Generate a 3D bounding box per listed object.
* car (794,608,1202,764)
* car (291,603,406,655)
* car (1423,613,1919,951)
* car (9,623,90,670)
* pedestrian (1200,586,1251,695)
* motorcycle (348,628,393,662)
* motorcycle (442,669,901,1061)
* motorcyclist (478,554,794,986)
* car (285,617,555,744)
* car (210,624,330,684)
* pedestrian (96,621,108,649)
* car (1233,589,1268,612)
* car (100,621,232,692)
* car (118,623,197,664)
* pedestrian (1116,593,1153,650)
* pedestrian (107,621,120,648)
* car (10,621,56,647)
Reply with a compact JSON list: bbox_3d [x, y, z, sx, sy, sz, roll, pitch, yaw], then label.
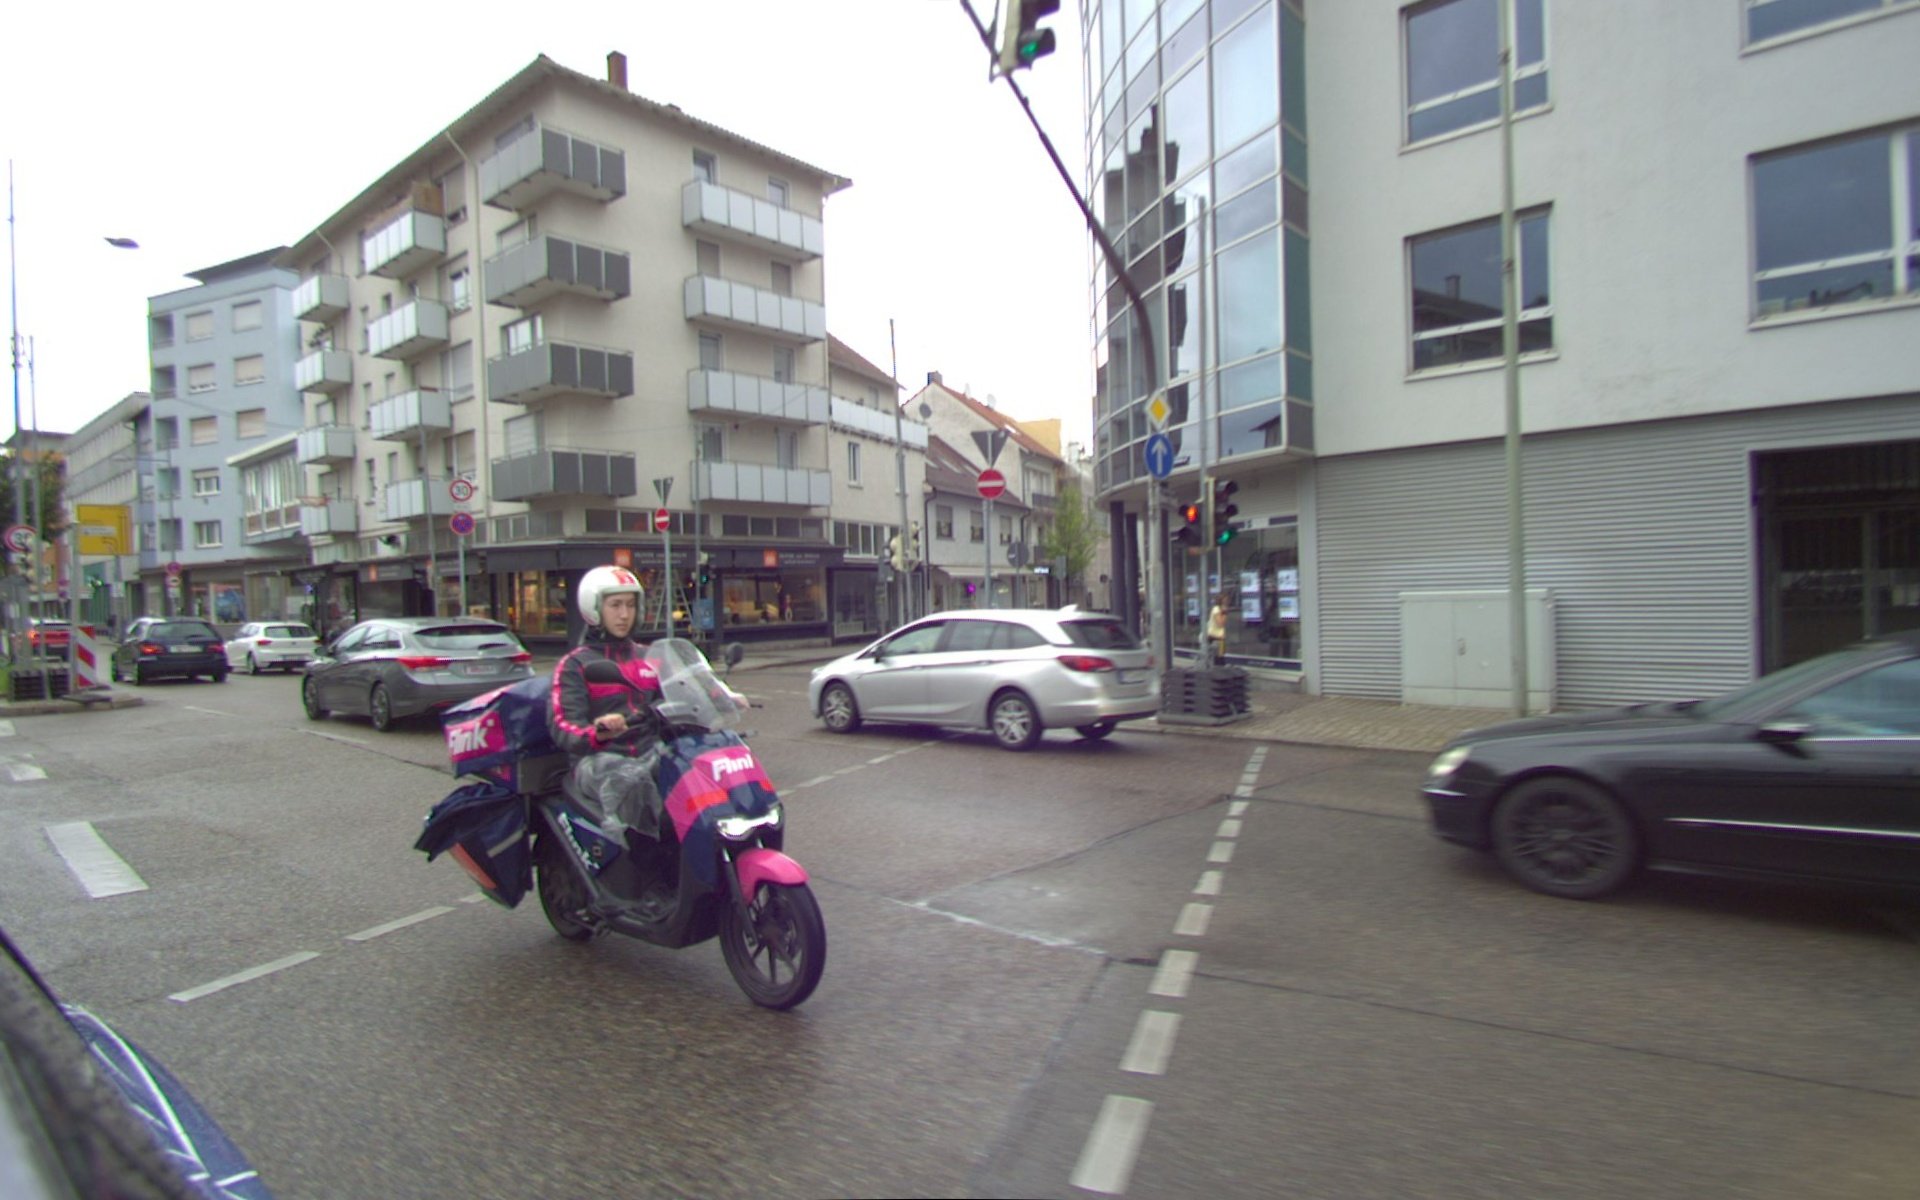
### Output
[{"bbox_3d":[0.300,0.874,11.891,4.599,1.485,1.909,-1,-2,40],"label":"car"},{"bbox_3d":[-26.783,1.222,44.393,1.894,2.070,3.944,-1,0,42],"label":"car"},{"bbox_3d":[4.812,0.761,4.625,4.600,1.376,1.806,0,-1,41],"label":"car"},{"bbox_3d":[-33.974,1.692,37.729,4.089,1.606,1.827,-1,0,42],"label":"car"},{"bbox_3d":[4.093,0.610,15.650,0.618,1.620,0.830,-1,0,8],"label":"pedestrian"},{"bbox_3d":[-21.056,1.586,36.129,2.194,1.095,0.661,0,3,41],"label":"motorcycle"},{"bbox_3d":[-1.254,0.915,4.116,2.096,1.200,0.582,-2,-1,34],"label":"motorcycle"},{"bbox_3d":[-1.306,0.590,4.148,0.862,1.504,0.907,0,0,34],"label":"motorcyclist"},{"bbox_3d":[-7.761,1.006,14.344,4.645,1.485,1.834,-1,-1,41],"label":"car"},{"bbox_3d":[-19.587,1.473,28.666,4.281,1.535,1.754,-1,0,41],"label":"car"},{"bbox_3d":[-53.772,2.174,63.439,0.531,1.701,0.520,1,0,41],"label":"pedestrian"},{"bbox_3d":[21.672,0.052,75.385,1.988,1.588,3.968,-1,1,24],"label":"car"},{"bbox_3d":[-19.619,1.339,24.943,4.282,1.555,1.810,-1,0,42],"label":"car"},{"bbox_3d":[-32.799,1.733,41.328,3.998,1.508,1.827,-1,0,42],"label":"car"},{"bbox_3d":[5.353,0.646,30.976,0.891,1.665,0.559,-5,-2,22],"label":"pedestrian"},{"bbox_3d":[-53.398,2.184,63.842,0.531,1.701,0.506,1,0,41],"label":"pedestrian"},{"bbox_3d":[-59.324,2.150,64.749,4.024,1.601,1.754,-2,-2,41],"label":"car"}]
